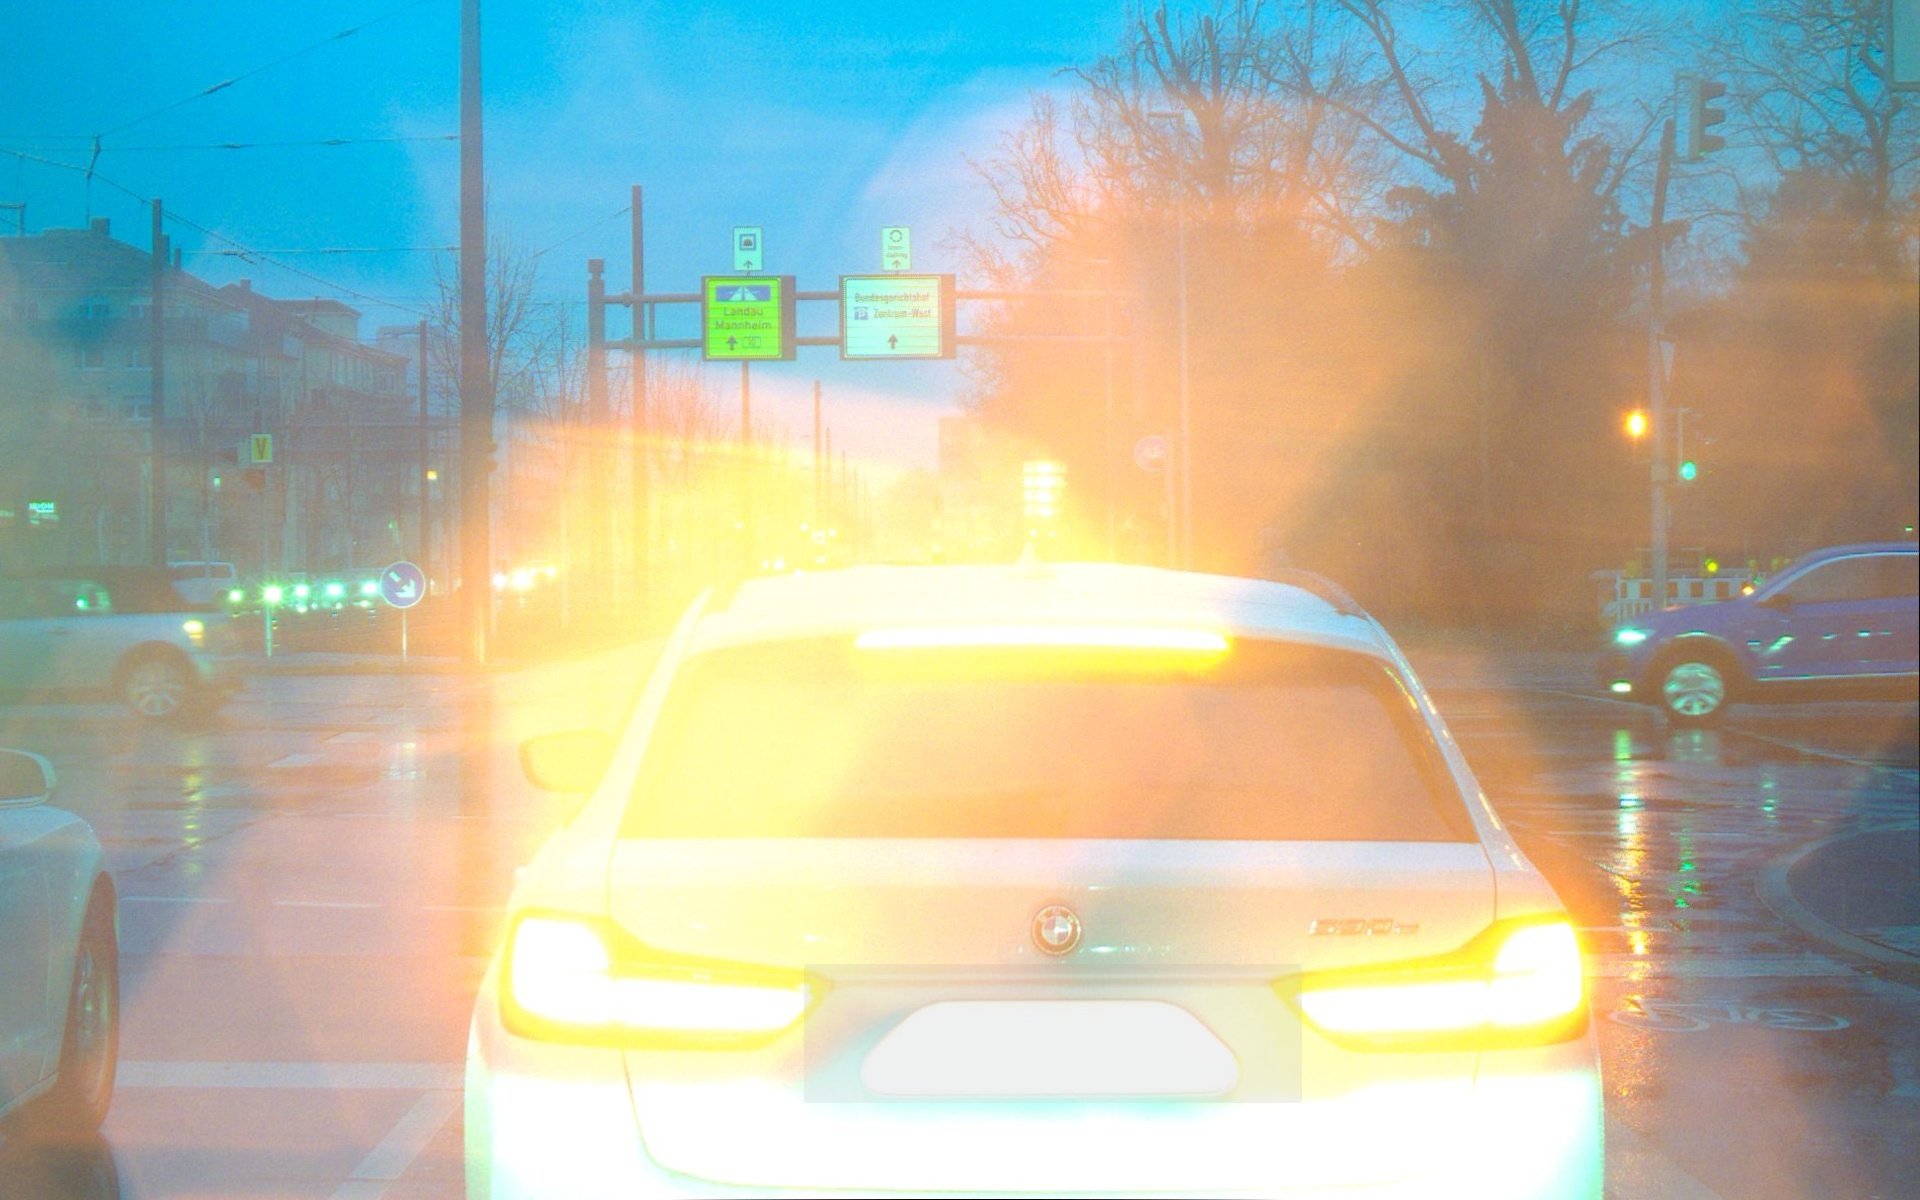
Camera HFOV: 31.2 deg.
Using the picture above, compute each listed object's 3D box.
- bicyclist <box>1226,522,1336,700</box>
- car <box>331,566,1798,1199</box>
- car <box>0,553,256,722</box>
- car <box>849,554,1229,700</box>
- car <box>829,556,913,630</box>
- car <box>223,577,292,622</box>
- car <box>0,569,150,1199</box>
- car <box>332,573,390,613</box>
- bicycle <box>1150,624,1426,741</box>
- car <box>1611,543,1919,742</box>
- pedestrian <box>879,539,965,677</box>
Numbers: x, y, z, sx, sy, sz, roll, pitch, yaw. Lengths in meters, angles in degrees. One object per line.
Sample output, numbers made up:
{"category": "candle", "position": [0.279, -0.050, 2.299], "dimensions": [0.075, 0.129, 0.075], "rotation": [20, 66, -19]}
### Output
{"category": "bicyclist", "position": [3.239, 0.106, 34.606], "dimensions": [0.972, 1.753, 0.813], "rotation": [1, 0, 13]}
{"category": "car", "position": [0.053, 0.681, 6.856], "dimensions": [1.993, 1.451, 4.369], "rotation": [0, 1, -2]}
{"category": "car", "position": [-8.492, 0.314, 31.516], "dimensions": [3.688, 1.473, 1.628], "rotation": [1, 0, 2]}
{"category": "car", "position": [0.887, 0.289, 39.320], "dimensions": [3.961, 1.548, 1.746], "rotation": [1, 0, 30]}
{"category": "car", "position": [-2.034, -0.161, 78.285], "dimensions": [1.843, 1.603, 3.945], "rotation": [1, 0, -2]}
{"category": "car", "position": [-24.673, -0.022, 120.843], "dimensions": [1.675, 1.502, 3.696], "rotation": [1, 0, -1]}
{"category": "car", "position": [-3.093, 0.678, 7.074], "dimensions": [1.993, 1.451, 4.369], "rotation": [0, 1, -2]}
{"category": "car", "position": [-23.523, -0.262, 135.085], "dimensions": [1.675, 1.502, 3.696], "rotation": [1, 0, -1]}
{"category": "bicycle", "position": [3.302, 0.816, 34.577], "dimensions": [2.668, 1.085, 0.814], "rotation": [1, 0, 13]}
{"category": "car", "position": [7.662, 0.368, 29.577], "dimensions": [3.989, 1.617, 1.718], "rotation": [1, 0, 12]}
{"category": "pedestrian", "position": [-0.512, 0.107, 46.708], "dimensions": [0.904, 1.850, 0.811], "rotation": [1, 0, 21]}
